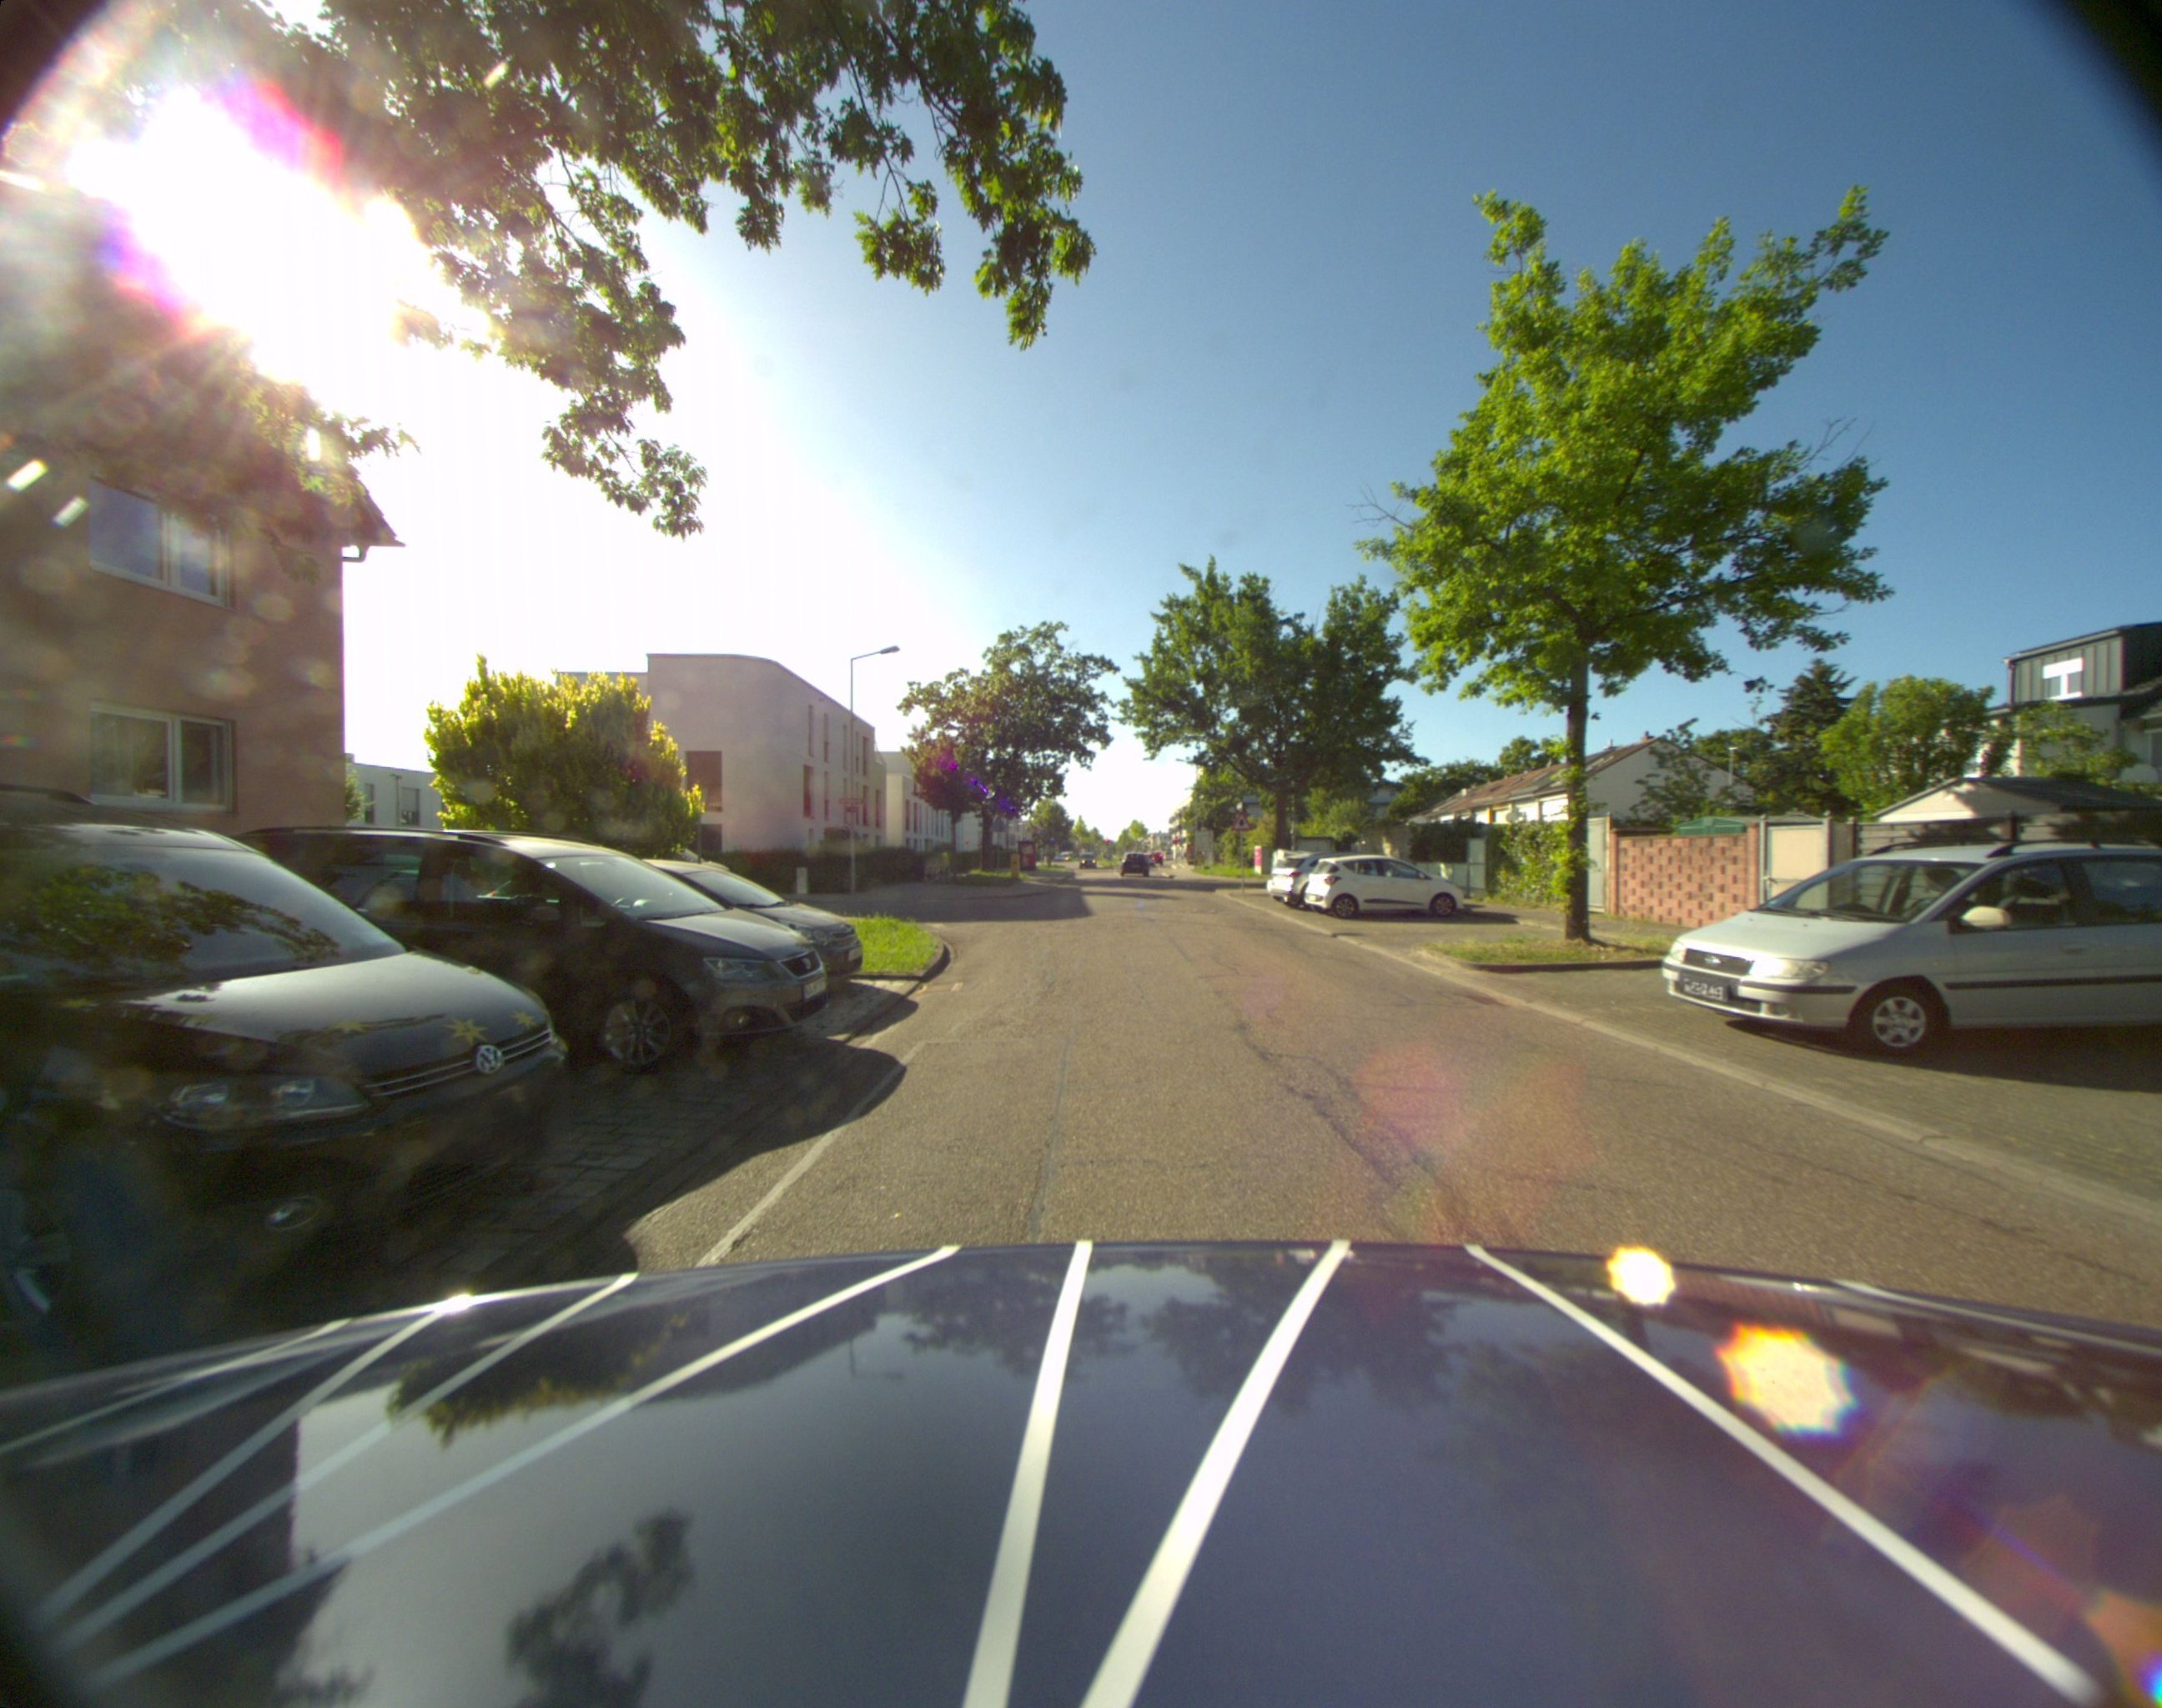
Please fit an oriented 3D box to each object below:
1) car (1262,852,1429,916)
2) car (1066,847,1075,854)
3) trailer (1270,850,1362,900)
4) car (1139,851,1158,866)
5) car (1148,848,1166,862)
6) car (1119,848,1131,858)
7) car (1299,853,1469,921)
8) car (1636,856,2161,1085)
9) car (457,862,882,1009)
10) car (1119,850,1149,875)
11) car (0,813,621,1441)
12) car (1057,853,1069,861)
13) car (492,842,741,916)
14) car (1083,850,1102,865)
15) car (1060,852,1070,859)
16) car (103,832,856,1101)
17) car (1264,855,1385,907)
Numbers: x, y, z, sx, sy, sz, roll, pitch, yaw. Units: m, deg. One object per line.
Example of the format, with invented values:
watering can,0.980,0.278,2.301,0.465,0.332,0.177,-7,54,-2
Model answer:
car,7.337,0.789,21.298,3.965,1.566,1.920,-2,2,-6
car,-2.266,-0.737,166.303,1.830,1.324,3.677,0,1,4
trailer,8.168,0.711,26.509,2.766,1.638,1.298,-1,3,-4
car,6.936,0.503,78.713,1.765,1.389,3.853,-3,-2,3
car,8.562,0.129,85.684,1.765,1.469,3.851,-4,0,3
car,7.132,-0.148,123.357,1.878,1.470,3.850,0,1,2
car,7.405,0.768,18.789,3.523,1.487,1.707,-1,2,-2
car,7.424,0.888,6.560,3.948,1.604,1.706,-2,0,2
car,-4.529,0.865,8.794,3.955,1.354,1.683,2,1,0
car,3.445,0.523,49.533,1.742,1.532,3.946,0,0,1
car,-4.541,0.719,3.066,4.222,1.771,1.789,2,1,0
car,-3.382,0.473,142.682,1.944,1.412,4.000,0,1,2
car,-11.927,0.602,19.815,5.208,1.805,1.912,0,2,-3
car,1.216,0.341,80.779,1.878,1.470,3.850,0,1,2
car,-3.142,0.249,150.170,1.830,1.324,3.678,0,0,4
car,-4.381,0.763,6.126,4.514,1.670,1.879,2,1,-1
car,7.618,0.832,23.999,3.303,1.470,1.615,-1,2,2
